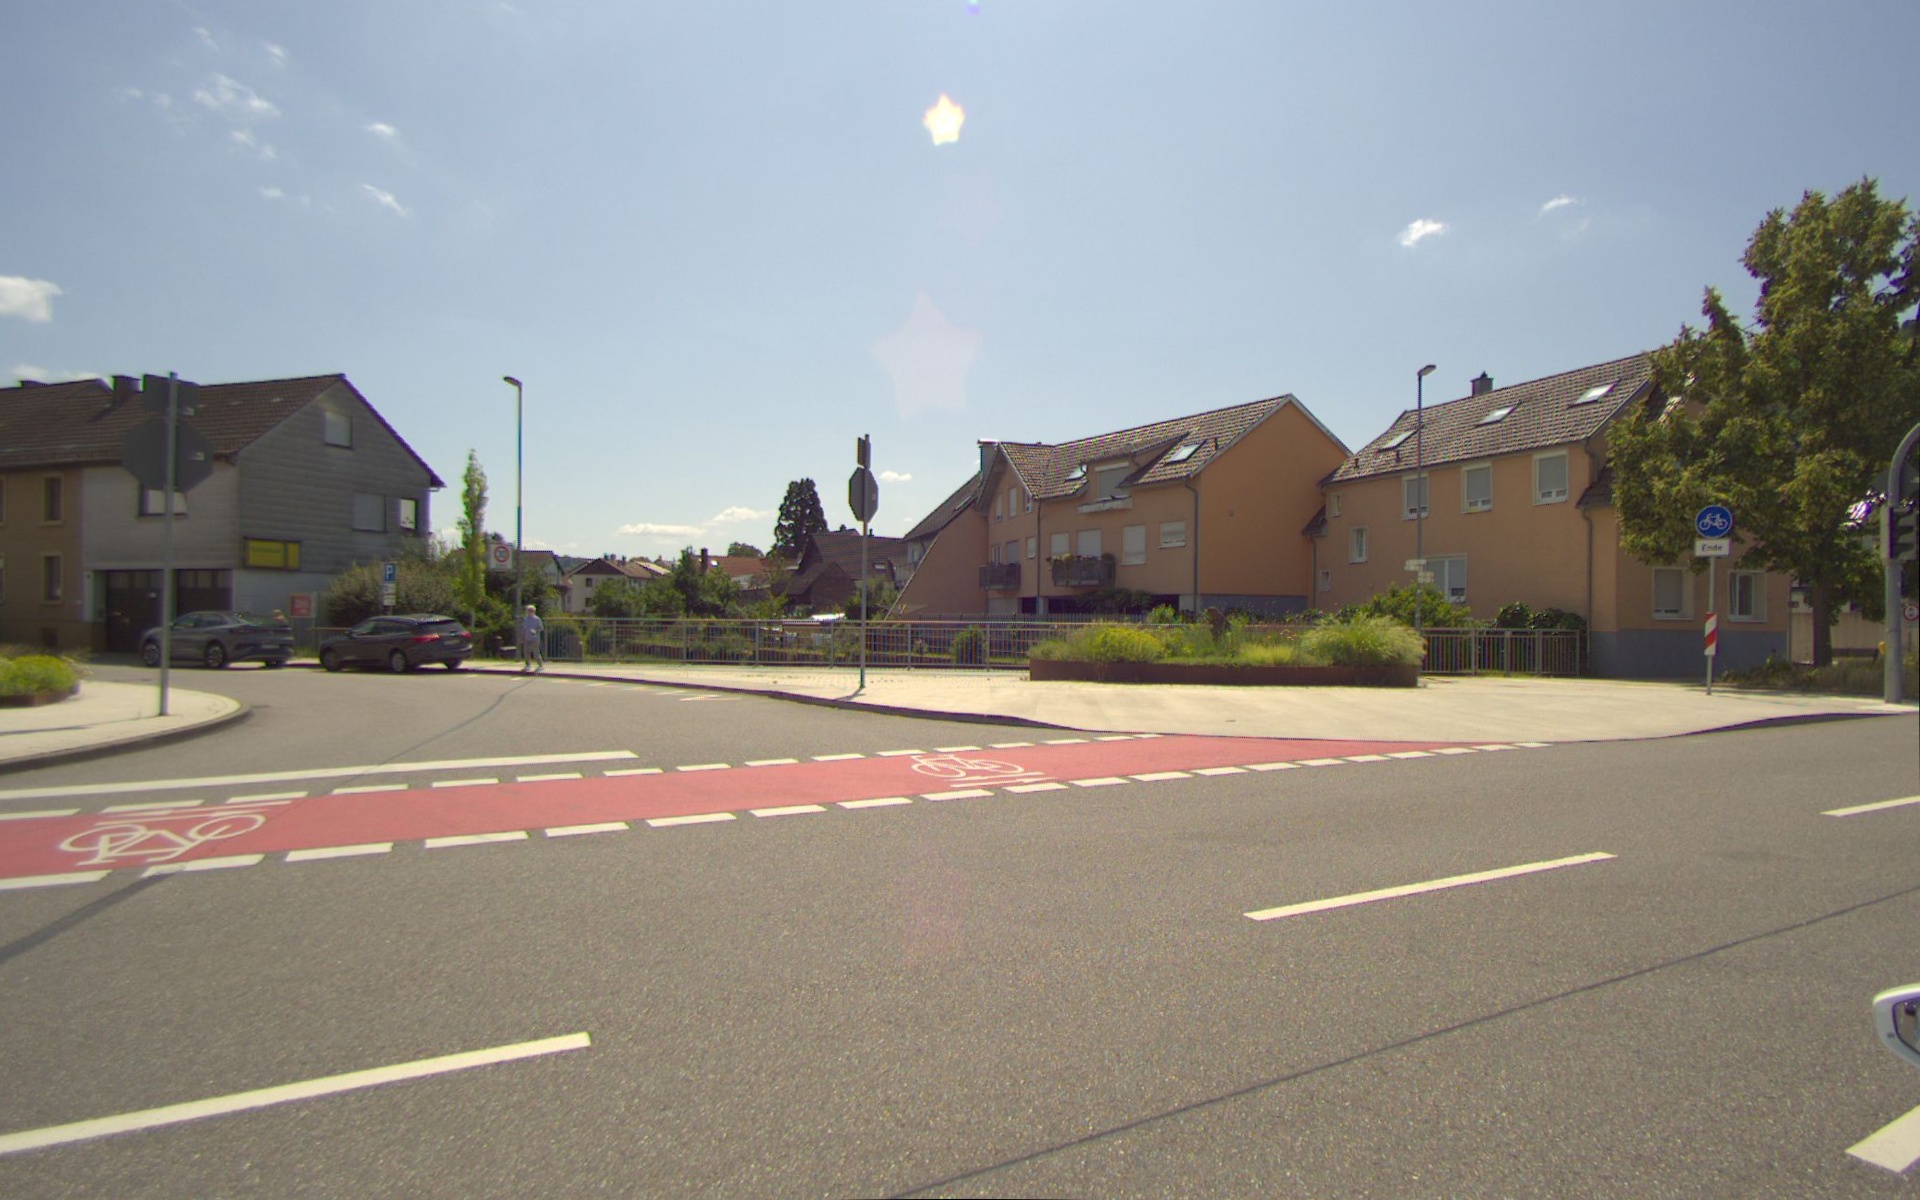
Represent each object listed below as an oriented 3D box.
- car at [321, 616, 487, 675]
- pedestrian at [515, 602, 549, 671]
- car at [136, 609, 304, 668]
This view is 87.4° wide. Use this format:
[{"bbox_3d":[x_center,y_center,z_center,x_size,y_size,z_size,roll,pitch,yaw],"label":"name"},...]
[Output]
[{"bbox_3d":[-15.086,1.182,27.264,3.922,1.483,1.861,0,-1,22],"label":"car"},{"bbox_3d":[-11.138,0.949,26.137,0.603,1.772,0.506,0,0,26],"label":"pedestrian"},{"bbox_3d":[-21.114,1.077,28.692,4.150,1.567,1.788,0,-2,19],"label":"car"}]
